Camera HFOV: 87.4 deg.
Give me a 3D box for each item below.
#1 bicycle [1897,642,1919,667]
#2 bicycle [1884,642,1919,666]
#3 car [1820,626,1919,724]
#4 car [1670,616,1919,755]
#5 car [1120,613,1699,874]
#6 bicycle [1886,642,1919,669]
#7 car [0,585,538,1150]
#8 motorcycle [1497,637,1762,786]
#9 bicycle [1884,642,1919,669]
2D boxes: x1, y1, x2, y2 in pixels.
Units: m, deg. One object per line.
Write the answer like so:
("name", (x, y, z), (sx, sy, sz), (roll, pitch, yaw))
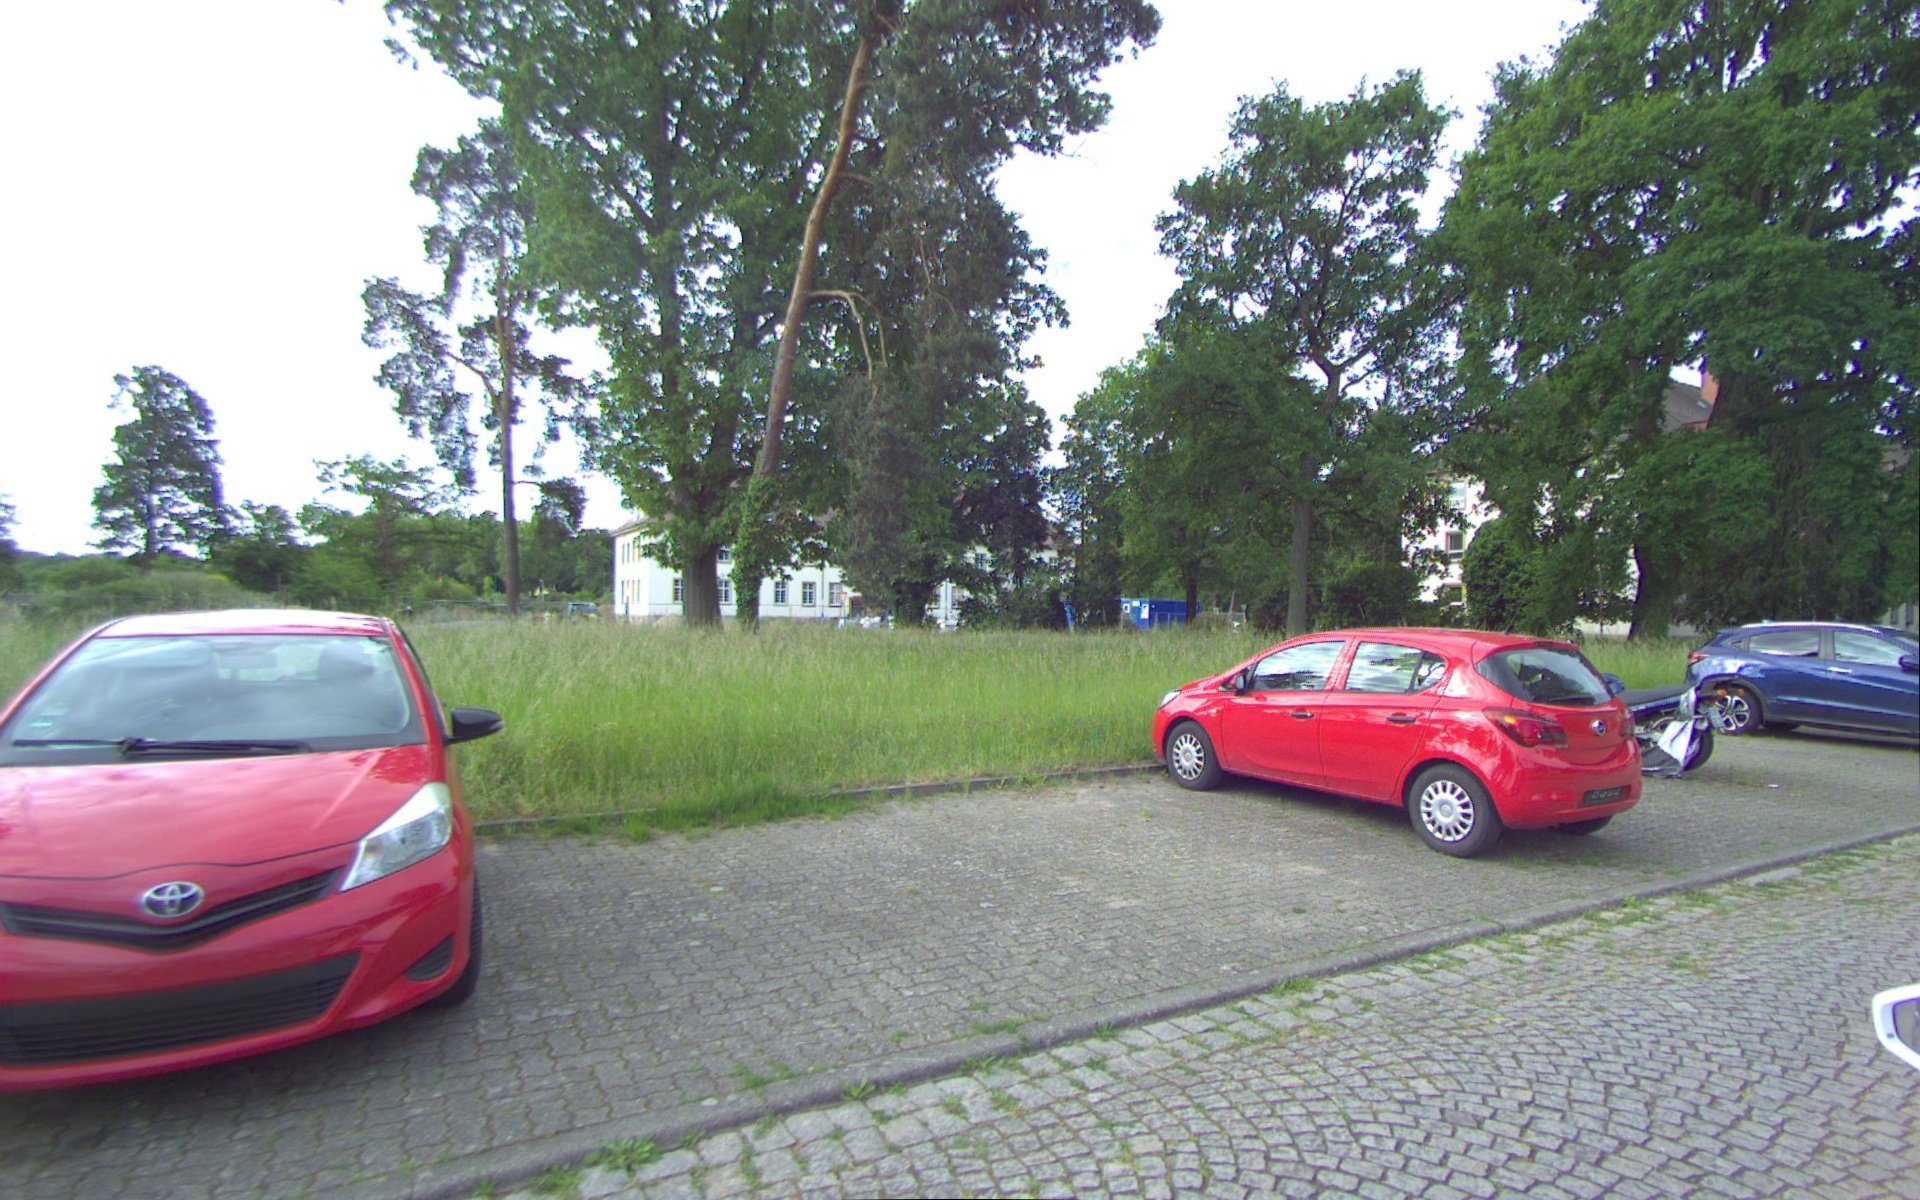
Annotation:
("bicycle", (38.978, 2.211, 40.318), (0.622, 1.002, 1.941), (1, -1, -39))
("bicycle", (40.486, 2.292, 42.566), (1.937, 1.002, 0.623), (0, -1, 44))
("car", (16.294, 1.223, 15.428), (1.950, 1.480, 4.285), (1, 0, -28))
("car", (12.135, 1.080, 13.171), (1.865, 1.598, 4.207), (1, 0, -30))
("car", (3.349, 0.900, 8.286), (1.883, 1.545, 4.035), (1, -1, -31))
("bicycle", (36.644, 2.115, 38.298), (1.933, 1.002, 0.624), (0, -1, 39))
("car", (-3.294, 0.741, 4.723), (1.885, 1.530, 4.146), (1, -1, -30))
("motorcycle", (7.046, 1.107, 10.734), (0.710, 1.309, 2.265), (1, 1, -28))
("bicycle", (36.289, 2.100, 37.940), (1.931, 1.002, 0.625), (0, -1, 34))
